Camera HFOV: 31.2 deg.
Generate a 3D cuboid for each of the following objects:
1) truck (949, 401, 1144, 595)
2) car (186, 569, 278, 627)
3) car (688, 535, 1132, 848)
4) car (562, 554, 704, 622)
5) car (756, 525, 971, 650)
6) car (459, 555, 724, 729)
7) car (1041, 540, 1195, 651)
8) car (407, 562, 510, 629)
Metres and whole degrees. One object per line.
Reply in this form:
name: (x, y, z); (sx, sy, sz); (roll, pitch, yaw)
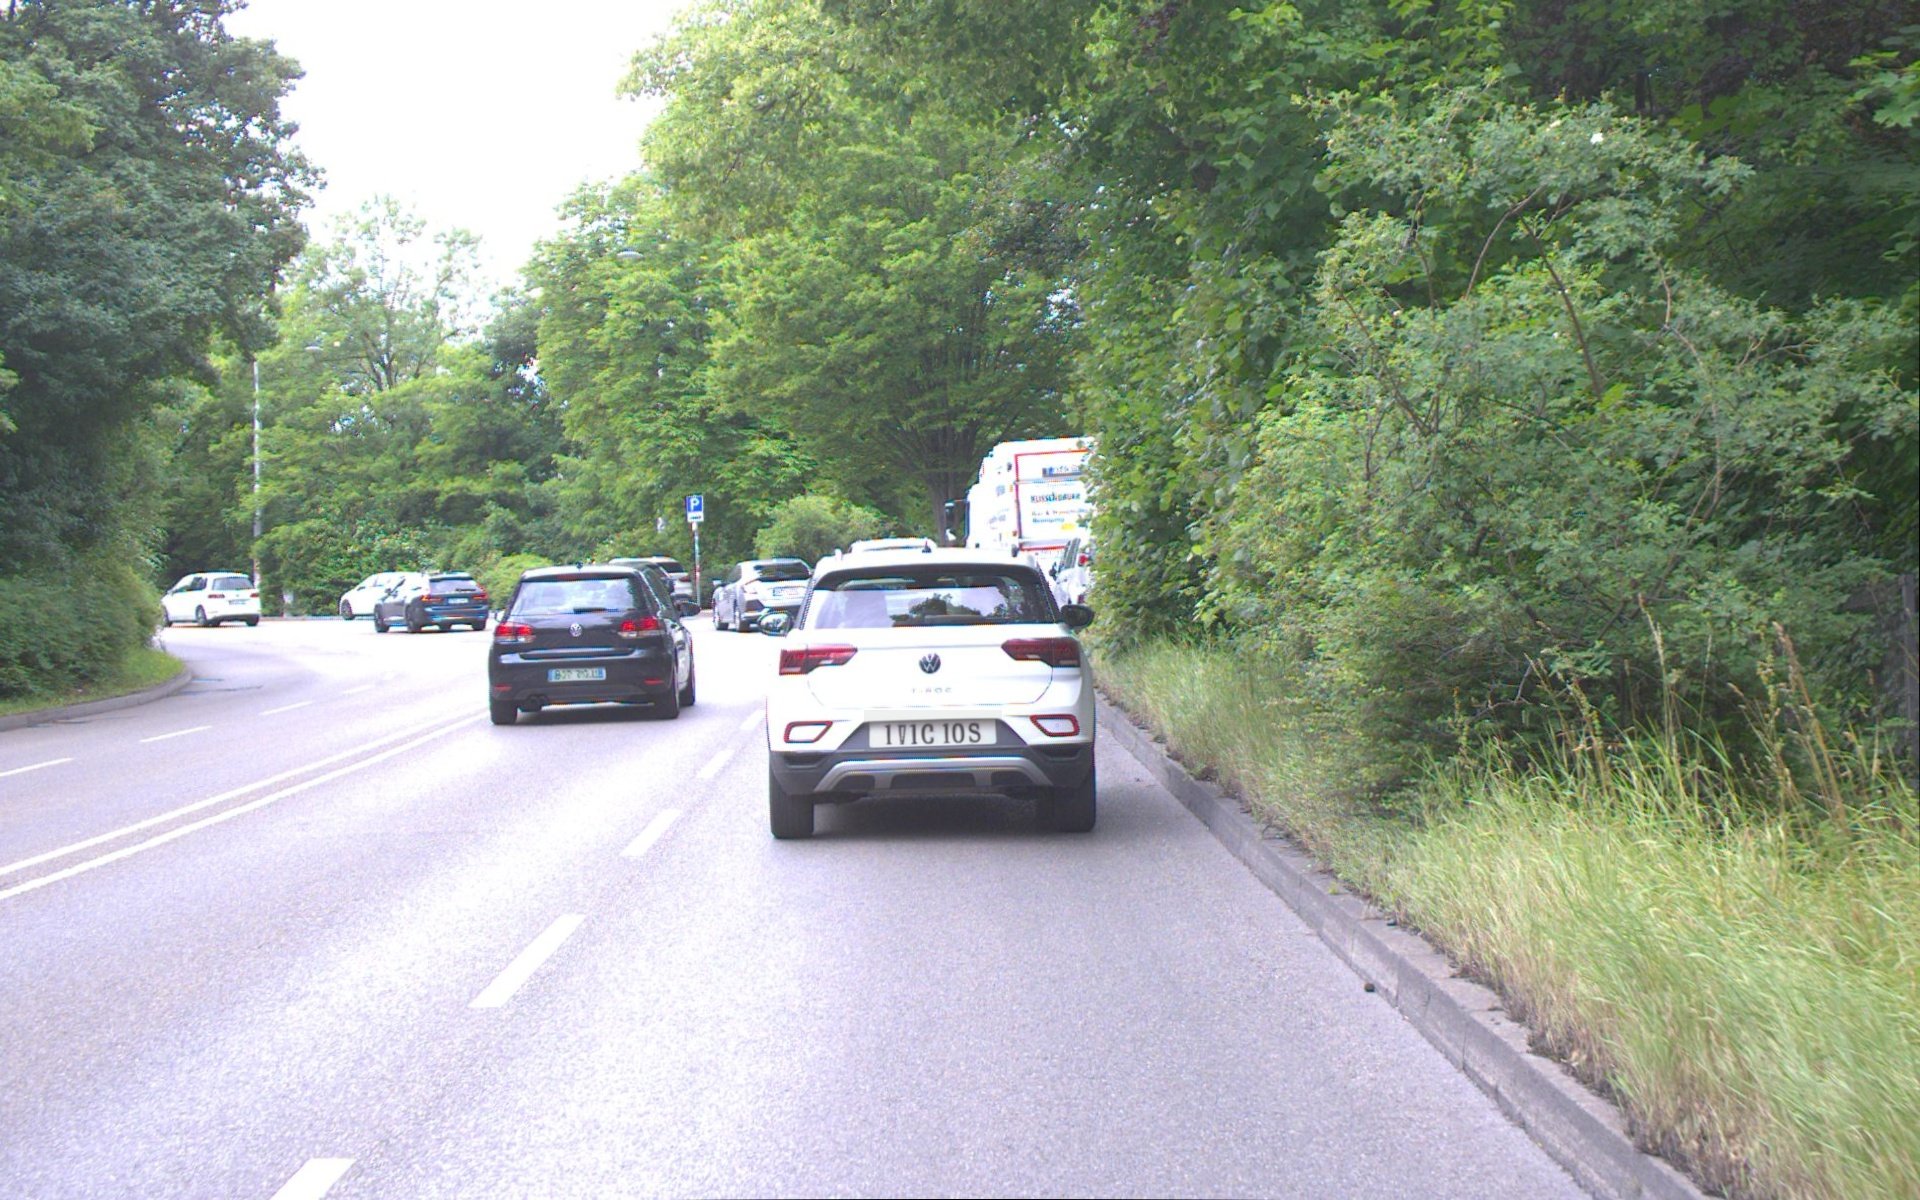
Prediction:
truck: (1.418, -1.684, 60.081); (2.481, 3.171, 7.230); (0, 0, -6)
car: (-20.835, -0.055, 98.543); (1.821, 1.617, 4.000); (0, 0, -1)
car: (-0.404, 0.464, 19.595); (2.000, 1.590, 4.001); (0, 0, -9)
car: (-7.964, -0.301, 83.431); (1.766, 1.601, 4.000); (0, 0, -33)
car: (-1.489, -0.200, 51.506); (1.851, 1.697, 4.001); (-4, 2, -22)
car: (-3.470, 0.369, 33.110); (1.949, 1.461, 4.000); (-4, 0, 1)
car: (2.269, -0.083, 50.281); (1.803, 1.519, 4.001); (-1, 1, -3)
car: (-12.287, -0.106, 84.501); (1.993, 1.587, 4.000); (0, 0, -1)
